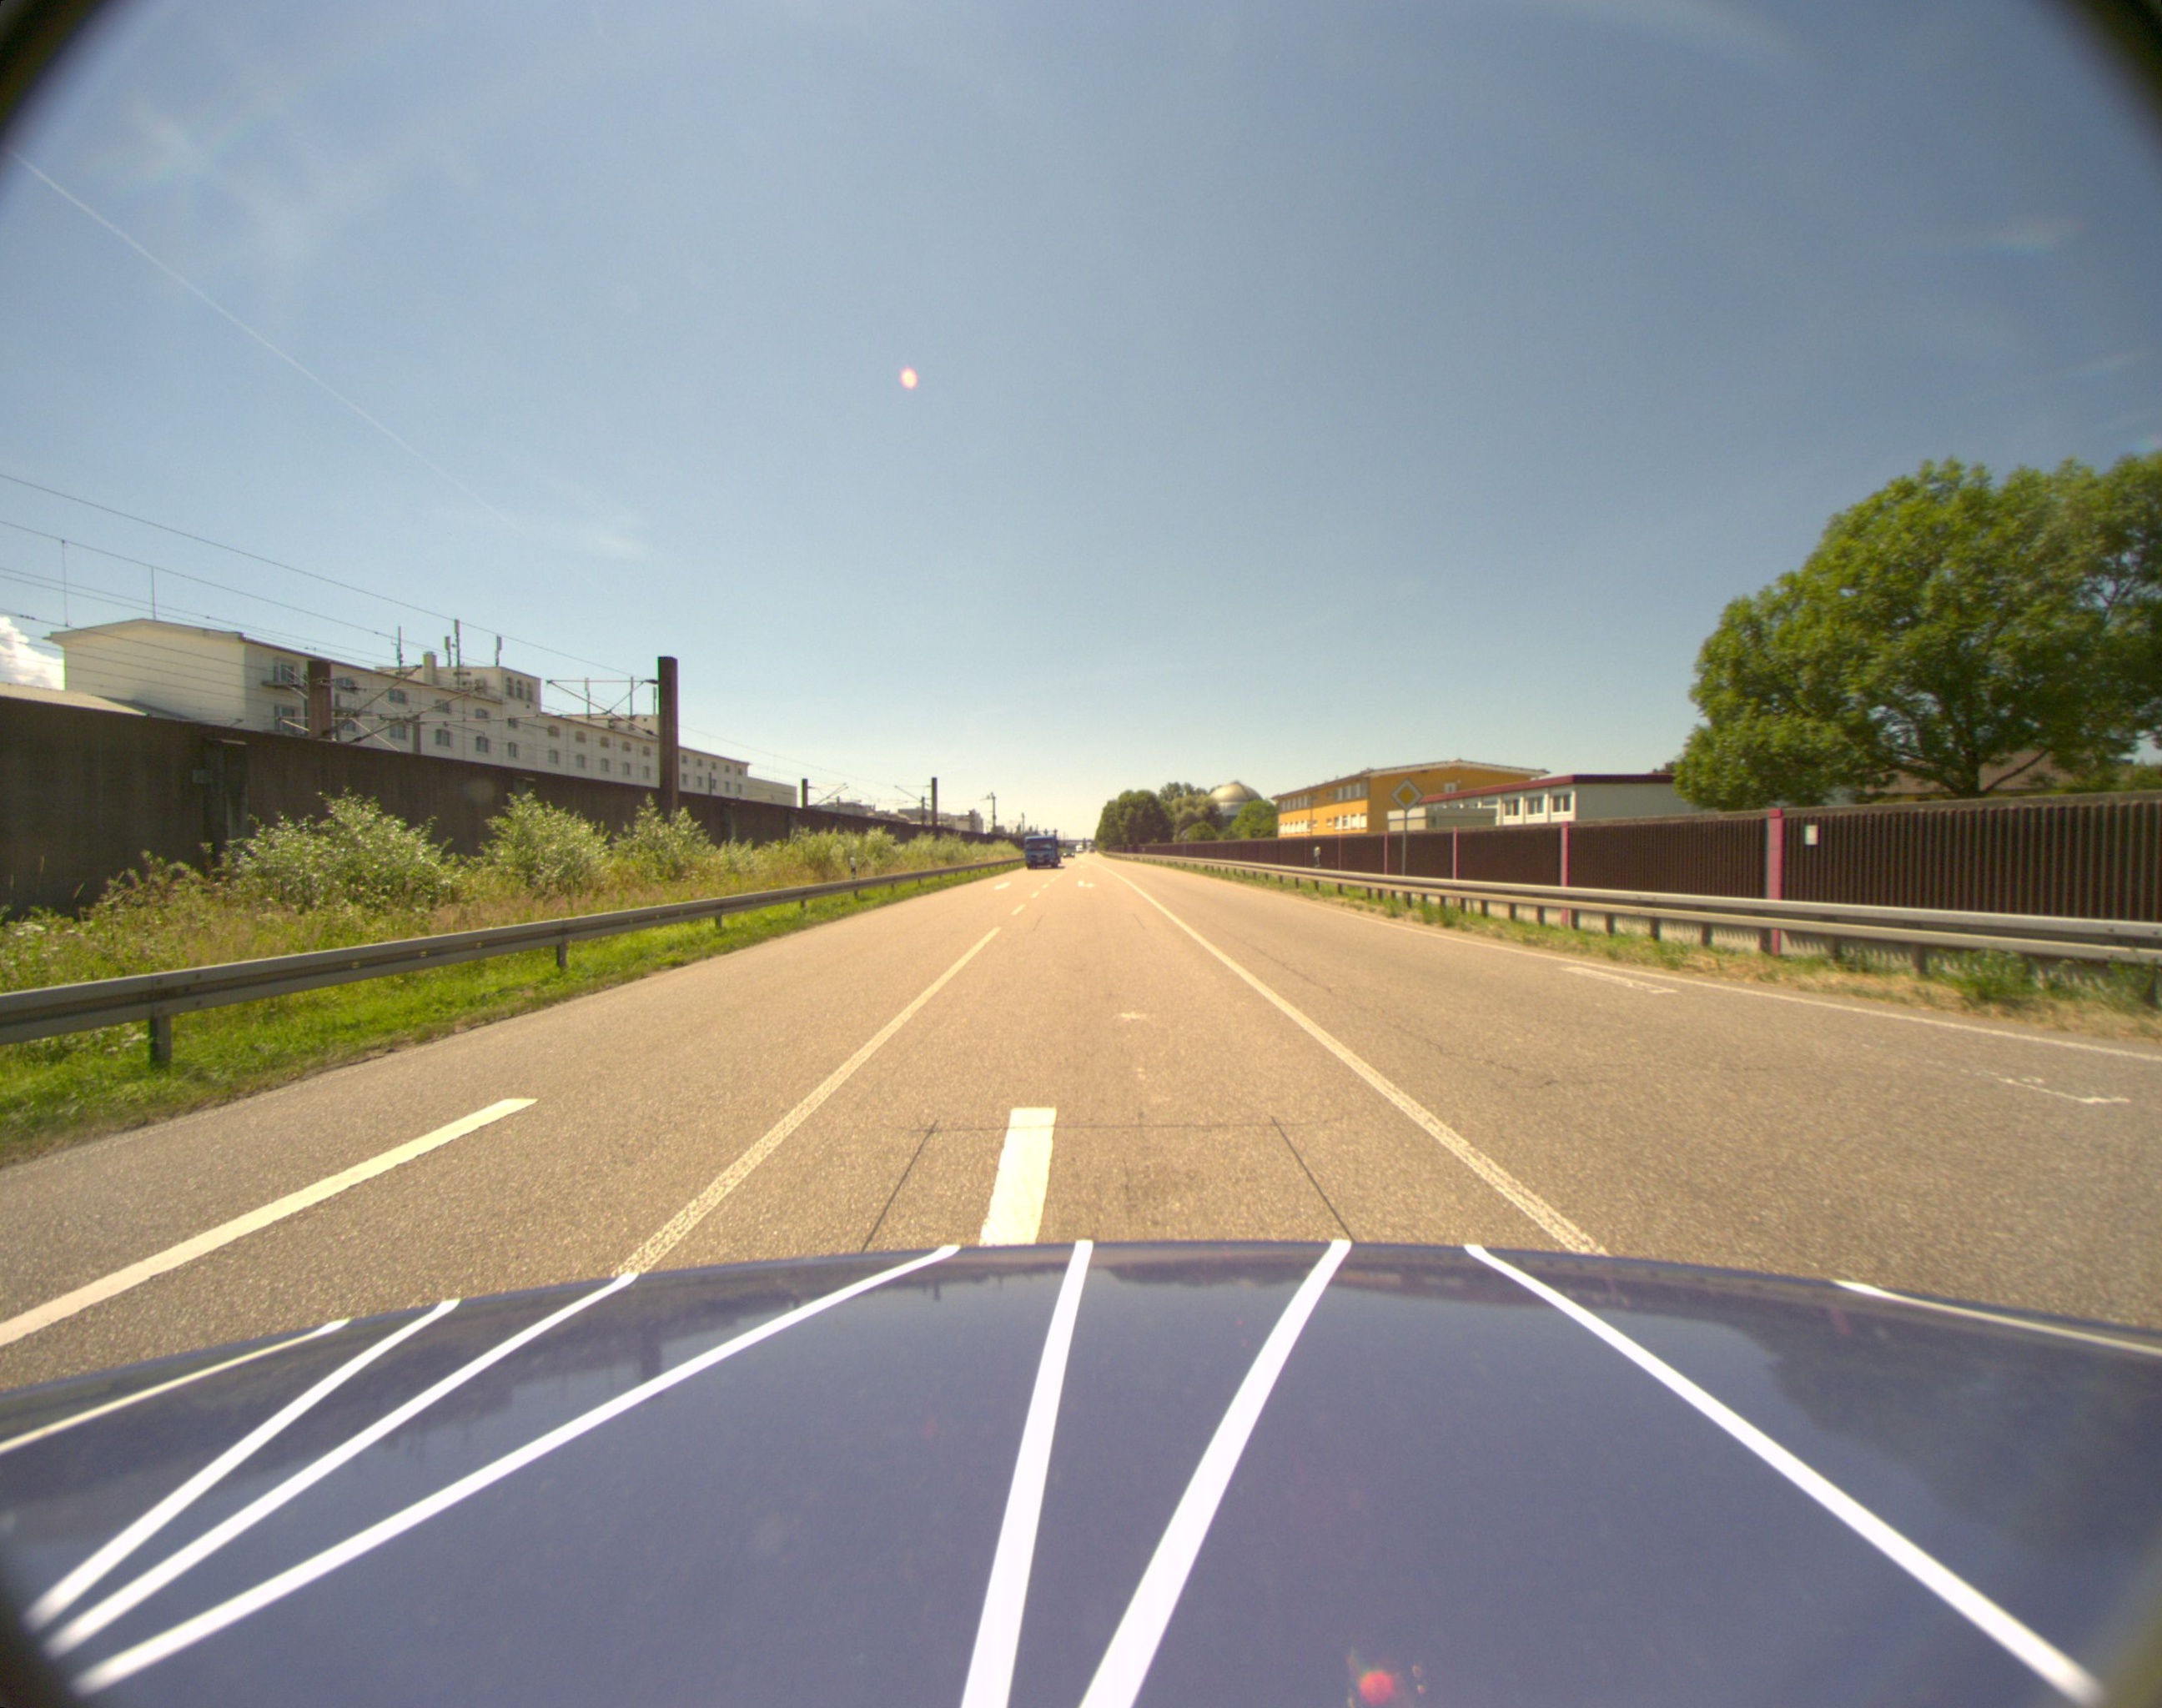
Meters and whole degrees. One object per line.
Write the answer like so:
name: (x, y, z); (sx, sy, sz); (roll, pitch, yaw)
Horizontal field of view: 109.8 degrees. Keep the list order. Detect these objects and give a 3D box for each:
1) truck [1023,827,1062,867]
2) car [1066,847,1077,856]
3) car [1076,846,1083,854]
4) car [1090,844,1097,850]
truck: (-3.040, -0.617, 62.865); (2.617, 3.024, 10.653); (-1, 1, 0)
car: (-1.519, -0.410, 127.854); (1.730, 1.465, 3.889); (-1, 1, 0)
car: (-0.536, -1.422, 246.819); (2.204, 2.545, 5.223); (-1, 1, 1)
car: (3.841, -1.977, 227.458); (1.892, 1.730, 4.775); (-2, 1, 0)
